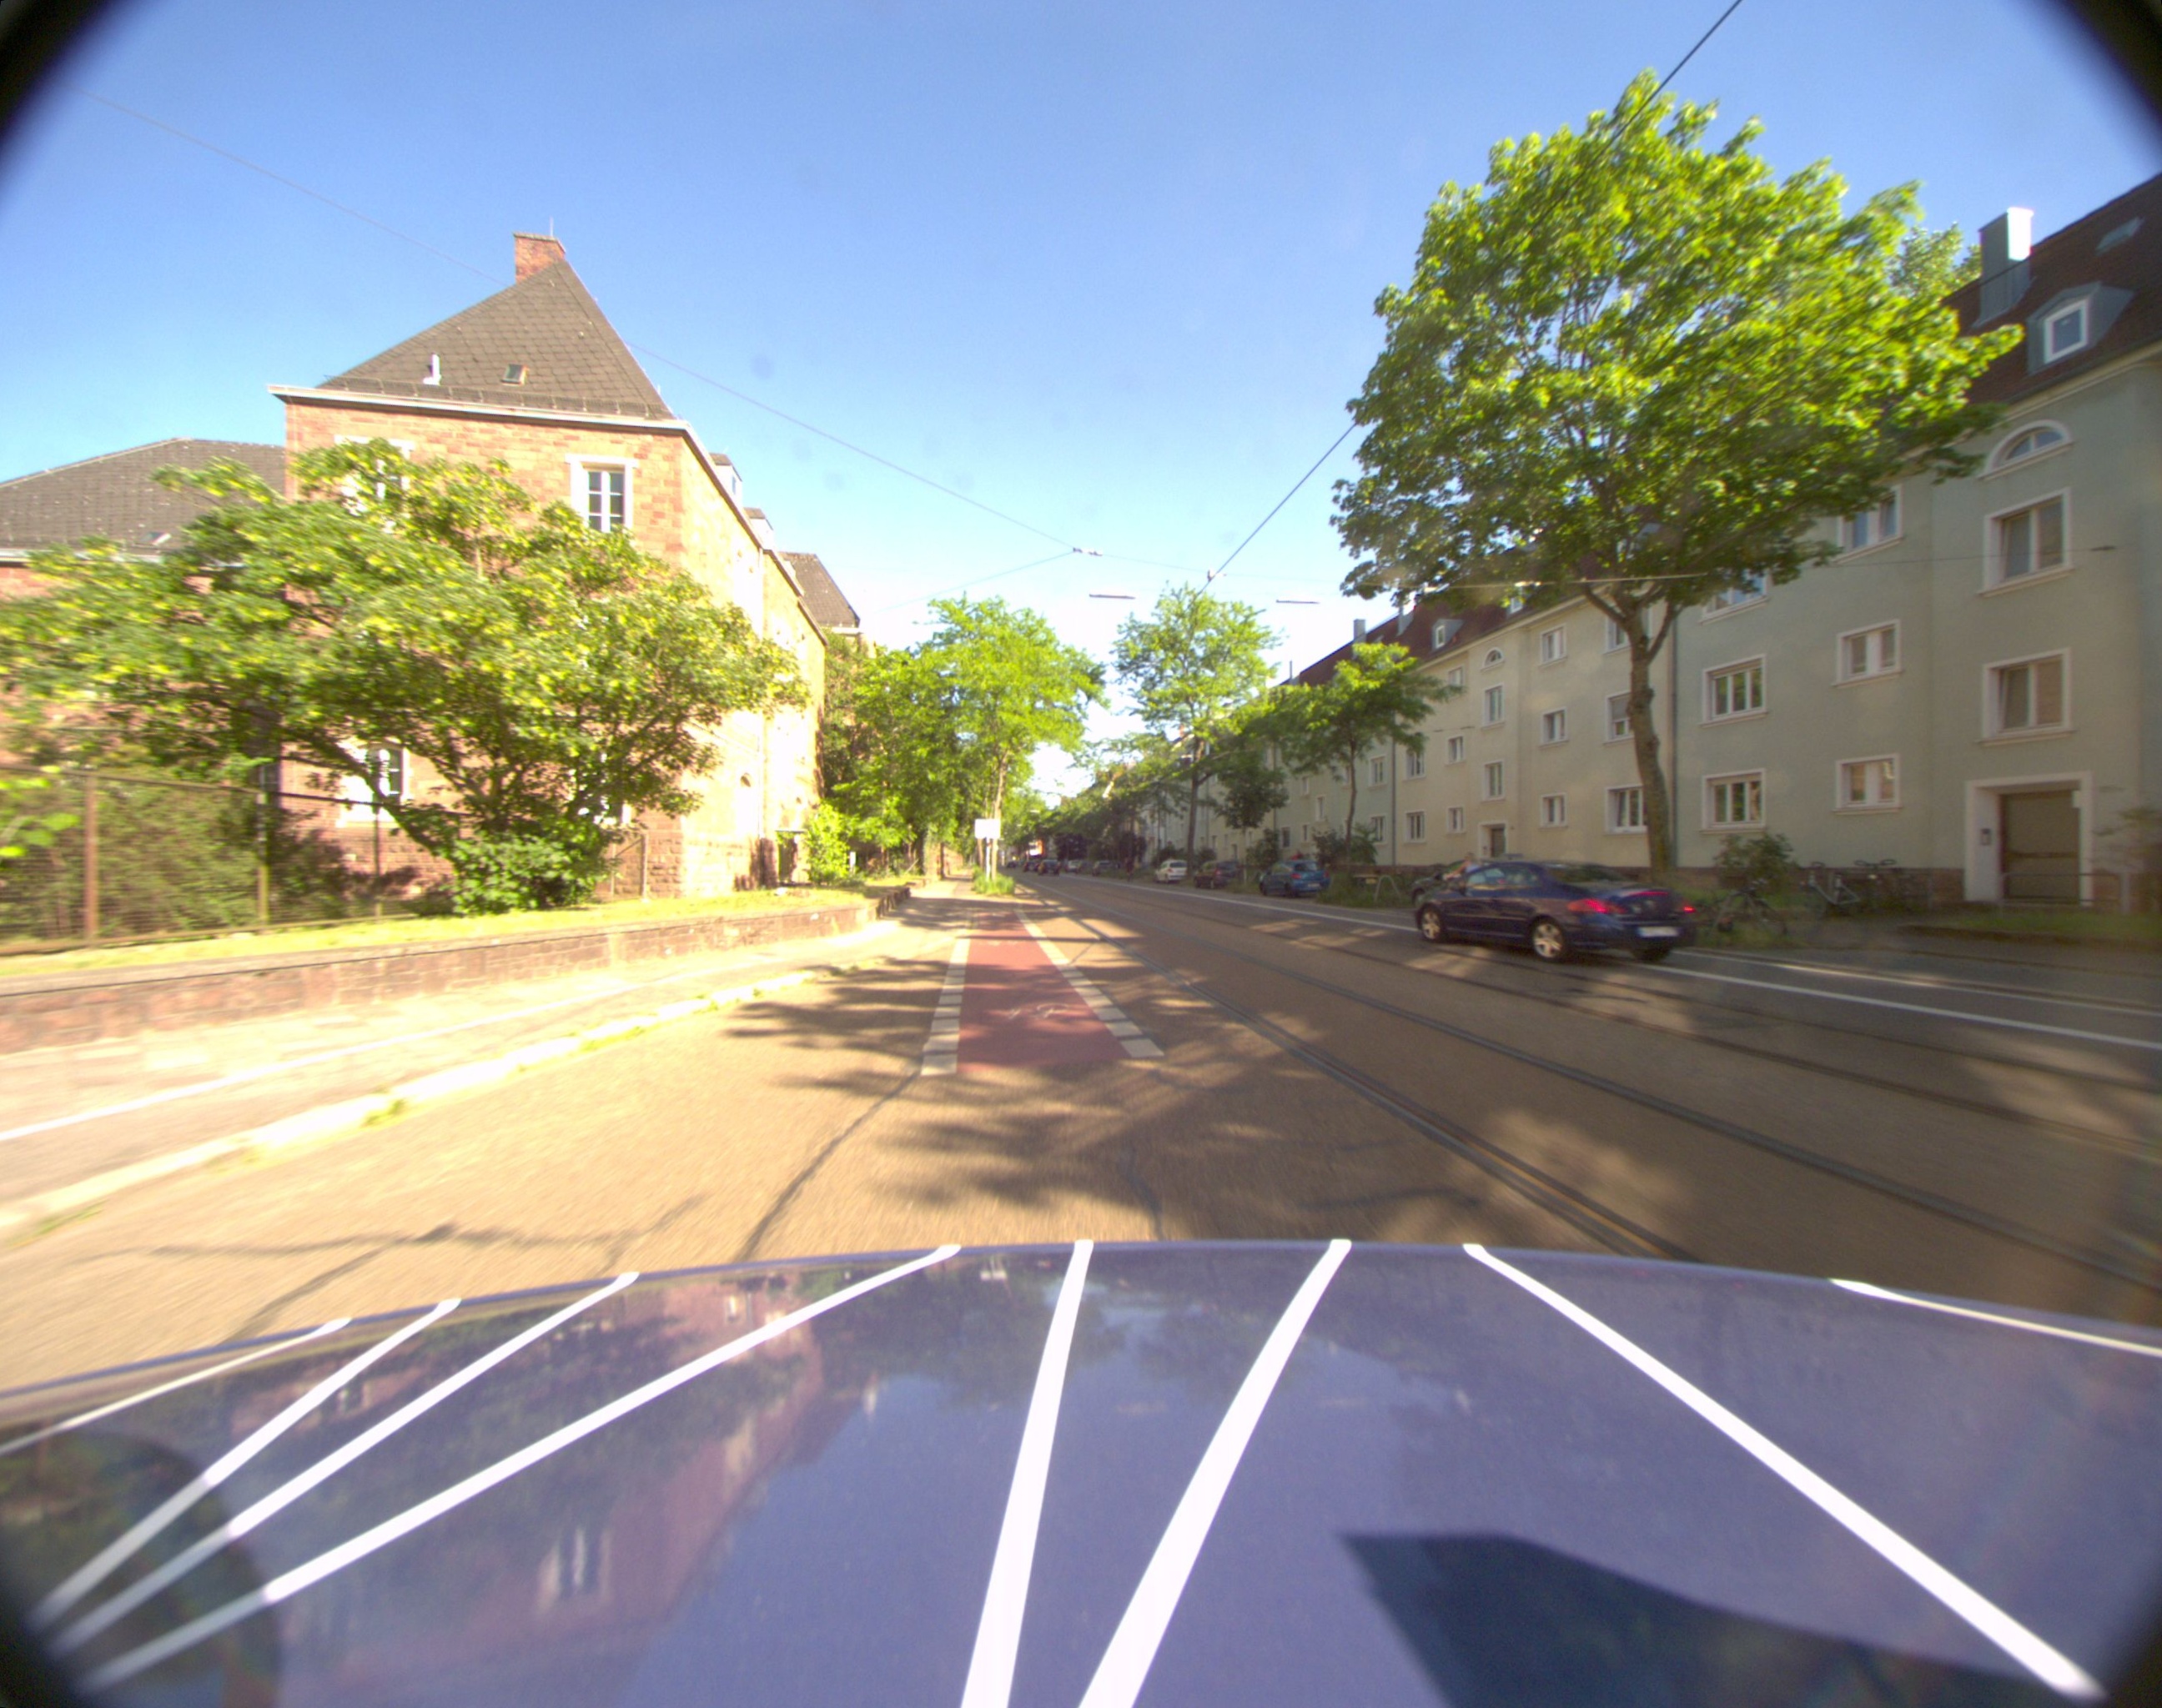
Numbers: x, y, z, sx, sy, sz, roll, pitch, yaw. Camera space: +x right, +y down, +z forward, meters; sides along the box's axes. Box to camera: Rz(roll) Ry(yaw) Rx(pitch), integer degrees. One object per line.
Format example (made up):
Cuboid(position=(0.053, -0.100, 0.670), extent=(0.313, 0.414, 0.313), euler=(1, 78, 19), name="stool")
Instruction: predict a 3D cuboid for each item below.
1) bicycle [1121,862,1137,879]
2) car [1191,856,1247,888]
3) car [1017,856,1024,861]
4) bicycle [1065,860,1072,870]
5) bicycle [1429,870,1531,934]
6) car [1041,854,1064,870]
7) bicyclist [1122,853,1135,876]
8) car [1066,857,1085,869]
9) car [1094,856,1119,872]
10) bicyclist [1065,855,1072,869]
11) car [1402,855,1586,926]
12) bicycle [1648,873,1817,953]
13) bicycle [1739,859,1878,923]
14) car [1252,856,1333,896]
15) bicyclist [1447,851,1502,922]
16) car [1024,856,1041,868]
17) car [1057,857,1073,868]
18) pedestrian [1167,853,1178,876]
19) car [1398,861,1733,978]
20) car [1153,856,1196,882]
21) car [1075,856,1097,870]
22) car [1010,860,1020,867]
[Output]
Cuboid(position=(3.415, 1.144, 54.223), extent=(0.696, 1.170, 1.912), euler=(2, 0, -8), name="bicycle")
Cuboid(position=(7.173, 0.904, 39.909), extent=(1.692, 1.476, 3.757), euler=(-3, 0, -9), name="car")
Cuboid(position=(-16.978, 1.224, 213.263), extent=(1.559, 1.446, 3.665), euler=(-1, 0, -8), name="car")
Cuboid(position=(-1.464, 1.248, 88.408), extent=(0.629, 1.170, 1.912), euler=(2, 0, -8), name="bicycle")
Cuboid(position=(8.348, 0.960, 16.028), extent=(0.560, 1.191, 2.290), euler=(3, -1, -11), name="bicycle")
Cuboid(position=(-2.815, 0.765, 74.108), extent=(1.705, 1.462, 4.068), euler=(-1, 0, -9), name="car")
Cuboid(position=(3.422, 0.774, 54.273), extent=(0.712, 1.597, 0.864), euler=(2, 0, -8), name="bicyclist")
Cuboid(position=(-0.713, 1.138, 98.195), extent=(1.823, 1.502, 4.367), euler=(-1, 0, -9), name="car")
Cuboid(position=(2.472, 0.985, 74.662), extent=(1.823, 1.476, 4.203), euler=(-1, 0, -8), name="car")
Cuboid(position=(-1.445, 0.891, 88.402), extent=(0.628, 1.629, 0.939), euler=(2, 0, -8), name="bicyclist")
Cuboid(position=(10.112, 0.809, 19.059), extent=(1.751, 1.482, 4.320), euler=(-3, 0, -9), name="car")
Cuboid(position=(10.732, 0.959, 12.543), extent=(2.290, 1.191, 0.559), euler=(-3, 0, -1), name="bicycle")
Cuboid(position=(14.872, 0.748, 15.553), extent=(2.290, 1.191, 0.559), euler=(-3, 0, -1), name="bicycle")
Cuboid(position=(8.510, 0.862, 30.921), extent=(1.565, 1.448, 3.927), euler=(-3, 0, -10), name="car")
Cuboid(position=(8.343, 0.672, 16.153), extent=(0.560, 1.448, 0.868), euler=(3, 0, -11), name="bicyclist")
Cuboid(position=(-6.202, 0.990, 96.323), extent=(1.705, 1.431, 4.068), euler=(-1, 0, -9), name="car")
Cuboid(position=(-2.354, 1.208, 109.418), extent=(1.711, 1.398, 4.330), euler=(-1, 0, -9), name="car")
Cuboid(position=(7.106, 0.839, 58.984), extent=(0.694, 1.791, 0.813), euler=(0, 0, -8), name="pedestrian")
Cuboid(position=(6.909, 0.820, 11.544), extent=(1.816, 1.379, 4.437), euler=(0, 0, -9), name="car")
Cuboid(position=(5.993, 0.938, 49.231), extent=(1.708, 1.476, 4.076), euler=(-3, 0, -8), name="car")
Cuboid(position=(0.541, 0.996, 87.741), extent=(1.763, 1.502, 4.435), euler=(-1, 0, -9), name="car")
Cuboid(position=(-12.942, 1.848, 148.672), extent=(1.764, 1.431, 4.520), euler=(-1, 0, -9), name="car")
